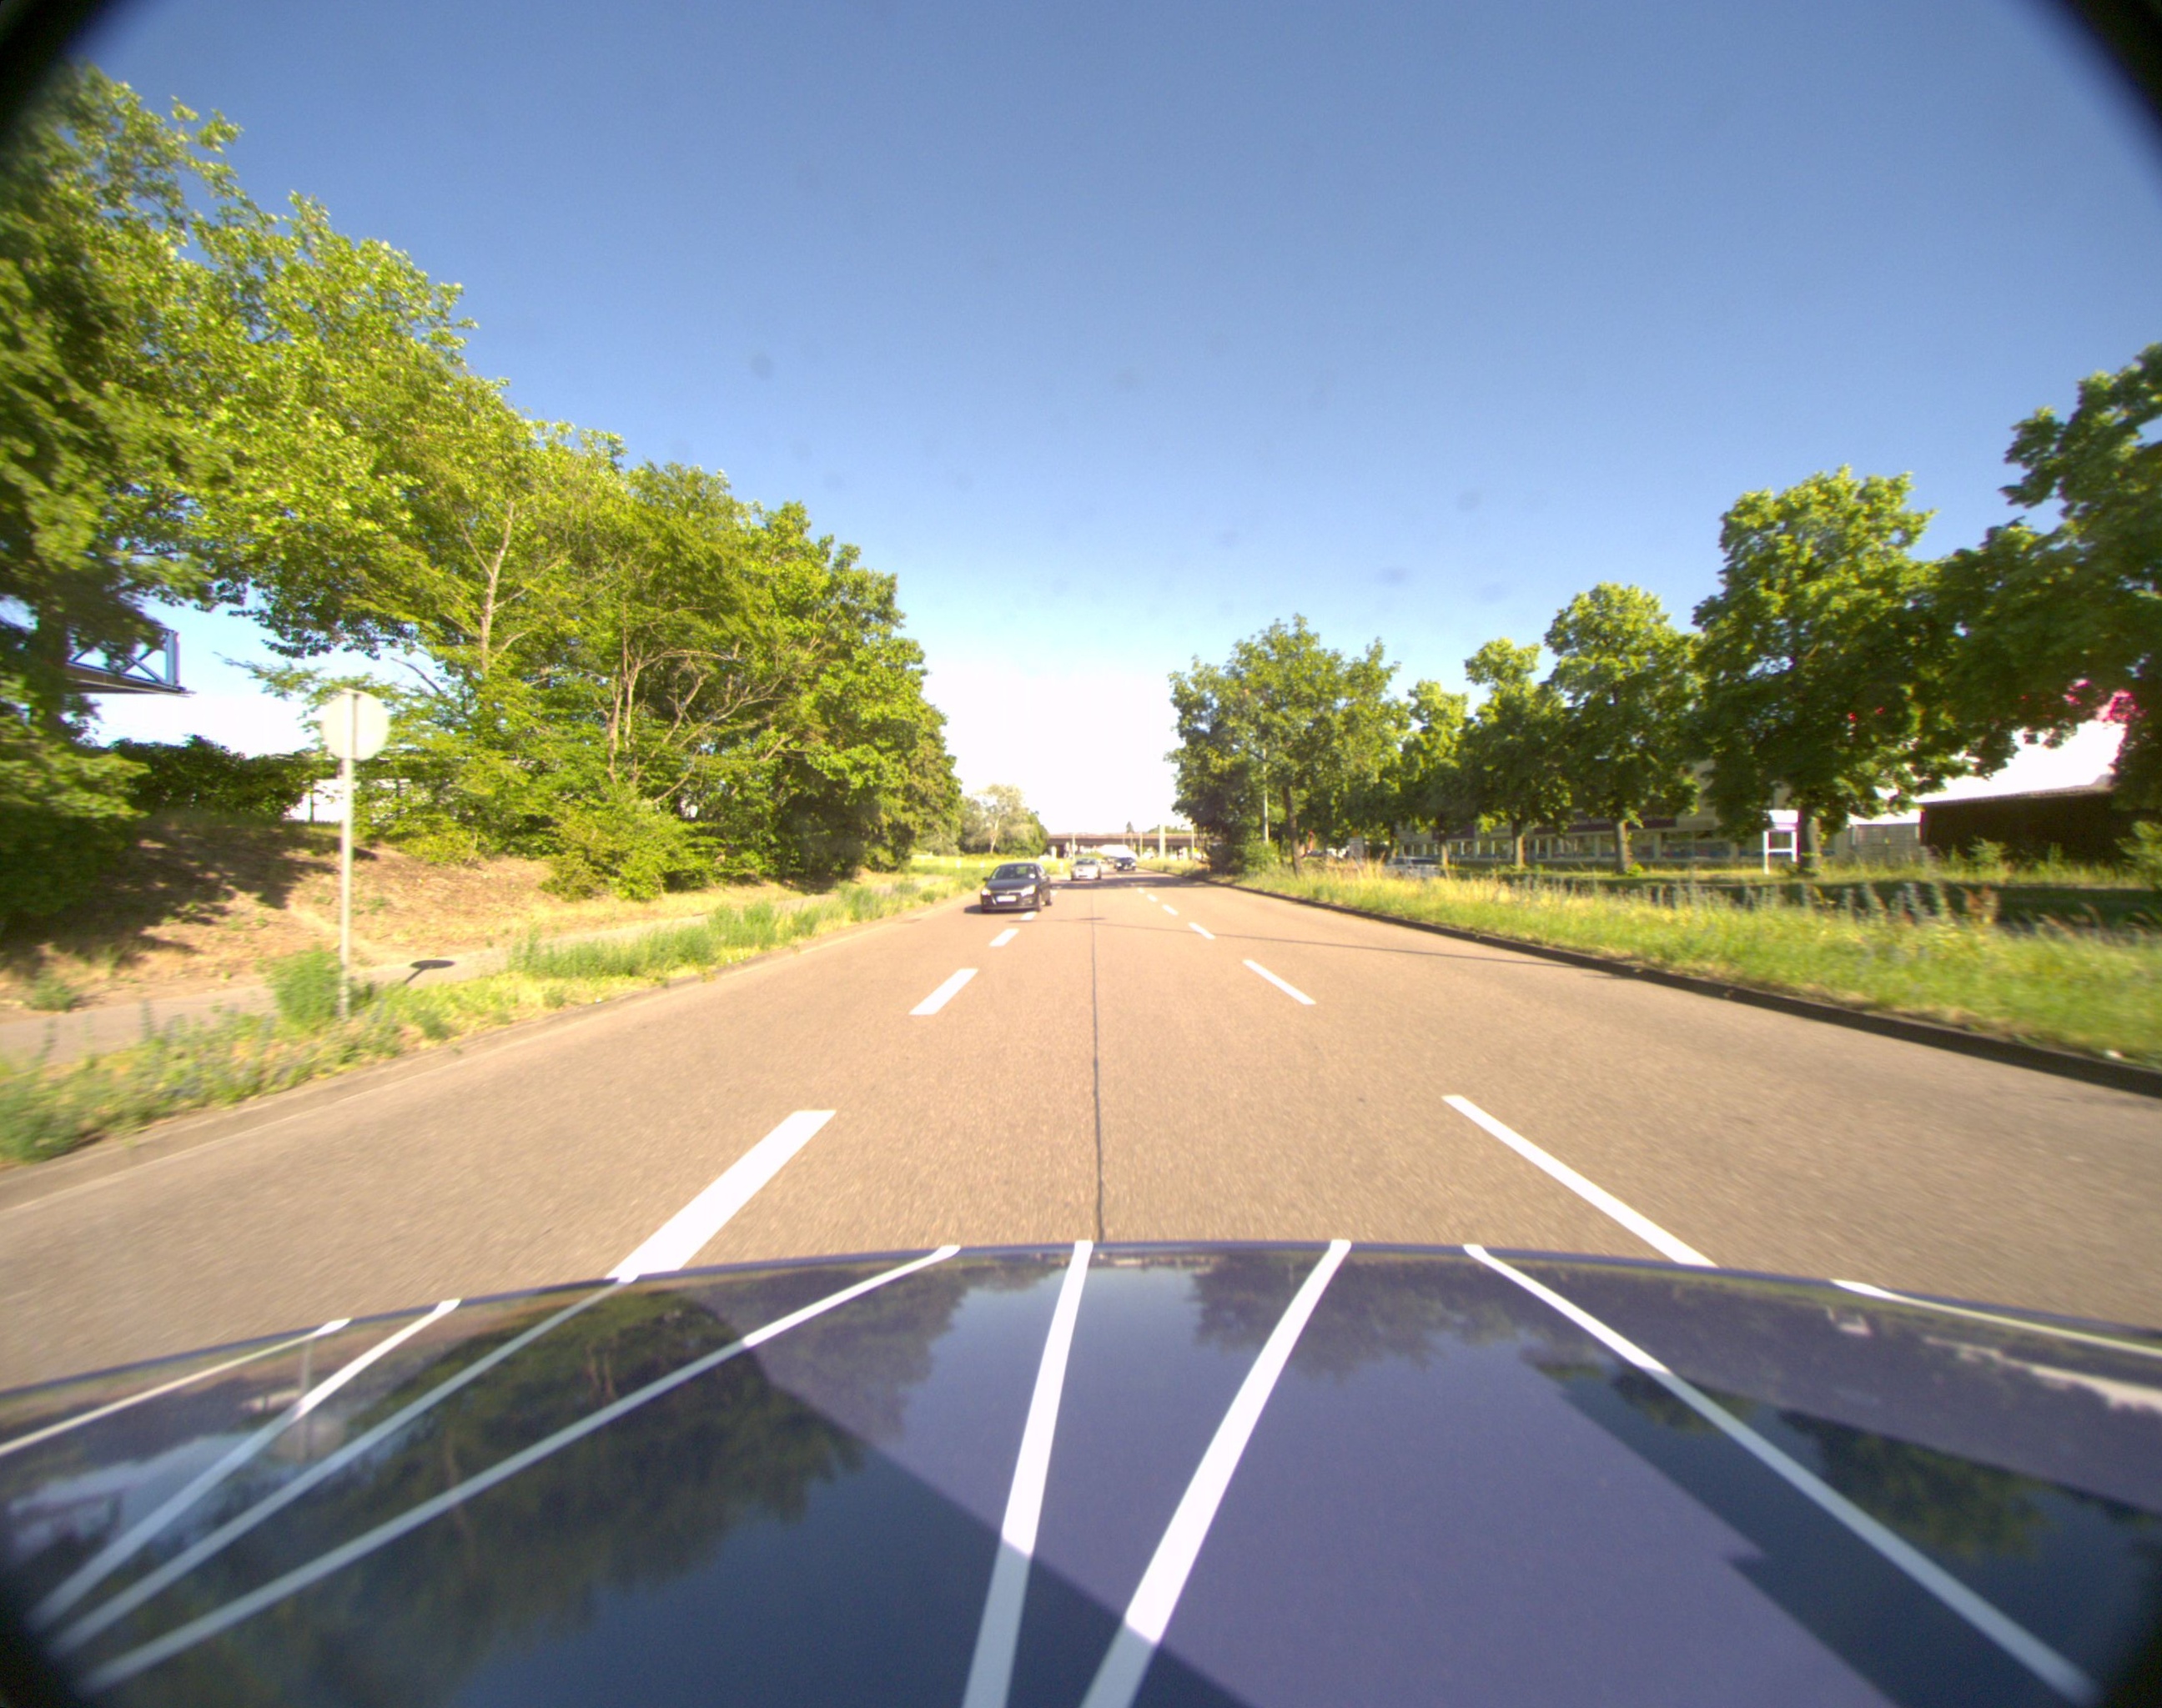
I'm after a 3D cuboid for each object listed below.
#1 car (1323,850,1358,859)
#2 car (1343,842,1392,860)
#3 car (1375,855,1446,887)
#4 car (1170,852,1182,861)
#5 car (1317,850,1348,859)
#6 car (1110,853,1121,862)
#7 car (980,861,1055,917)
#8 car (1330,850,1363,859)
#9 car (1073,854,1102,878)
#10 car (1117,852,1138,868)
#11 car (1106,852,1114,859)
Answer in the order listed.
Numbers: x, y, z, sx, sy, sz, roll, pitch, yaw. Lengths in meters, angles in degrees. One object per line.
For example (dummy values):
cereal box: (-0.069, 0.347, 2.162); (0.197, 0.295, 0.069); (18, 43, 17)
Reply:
car: (39.526, 0.055, 115.761); (4.631, 1.380, 1.947); (0, 0, 1)
car: (39.662, -0.370, 105.208); (5.893, 2.419, 2.206); (0, 0, -3)
car: (16.956, 0.856, 39.316); (1.760, 1.511, 4.530); (2, 0, 1)
car: (19.047, 0.568, 152.516); (1.710, 1.736, 4.165); (0, 0, 0)
car: (39.115, 0.046, 118.057); (4.129, 1.380, 1.946); (0, 0, -2)
car: (6.181, 0.675, 137.923); (1.827, 1.528, 4.042); (-1, 0, 1)
car: (-1.840, 0.988, 23.118); (1.706, 1.446, 3.960); (-2, 0, 3)
car: (39.470, 0.096, 112.977); (4.129, 1.380, 1.946); (0, 0, -3)
car: (0.459, 0.767, 50.613); (1.827, 1.528, 4.042); (0, 0, 1)
car: (4.627, 0.545, 75.930); (1.827, 1.528, 4.042); (0, 0, 1)
car: (6.327, 0.324, 164.022); (1.627, 1.428, 3.279); (-1, 0, 4)
